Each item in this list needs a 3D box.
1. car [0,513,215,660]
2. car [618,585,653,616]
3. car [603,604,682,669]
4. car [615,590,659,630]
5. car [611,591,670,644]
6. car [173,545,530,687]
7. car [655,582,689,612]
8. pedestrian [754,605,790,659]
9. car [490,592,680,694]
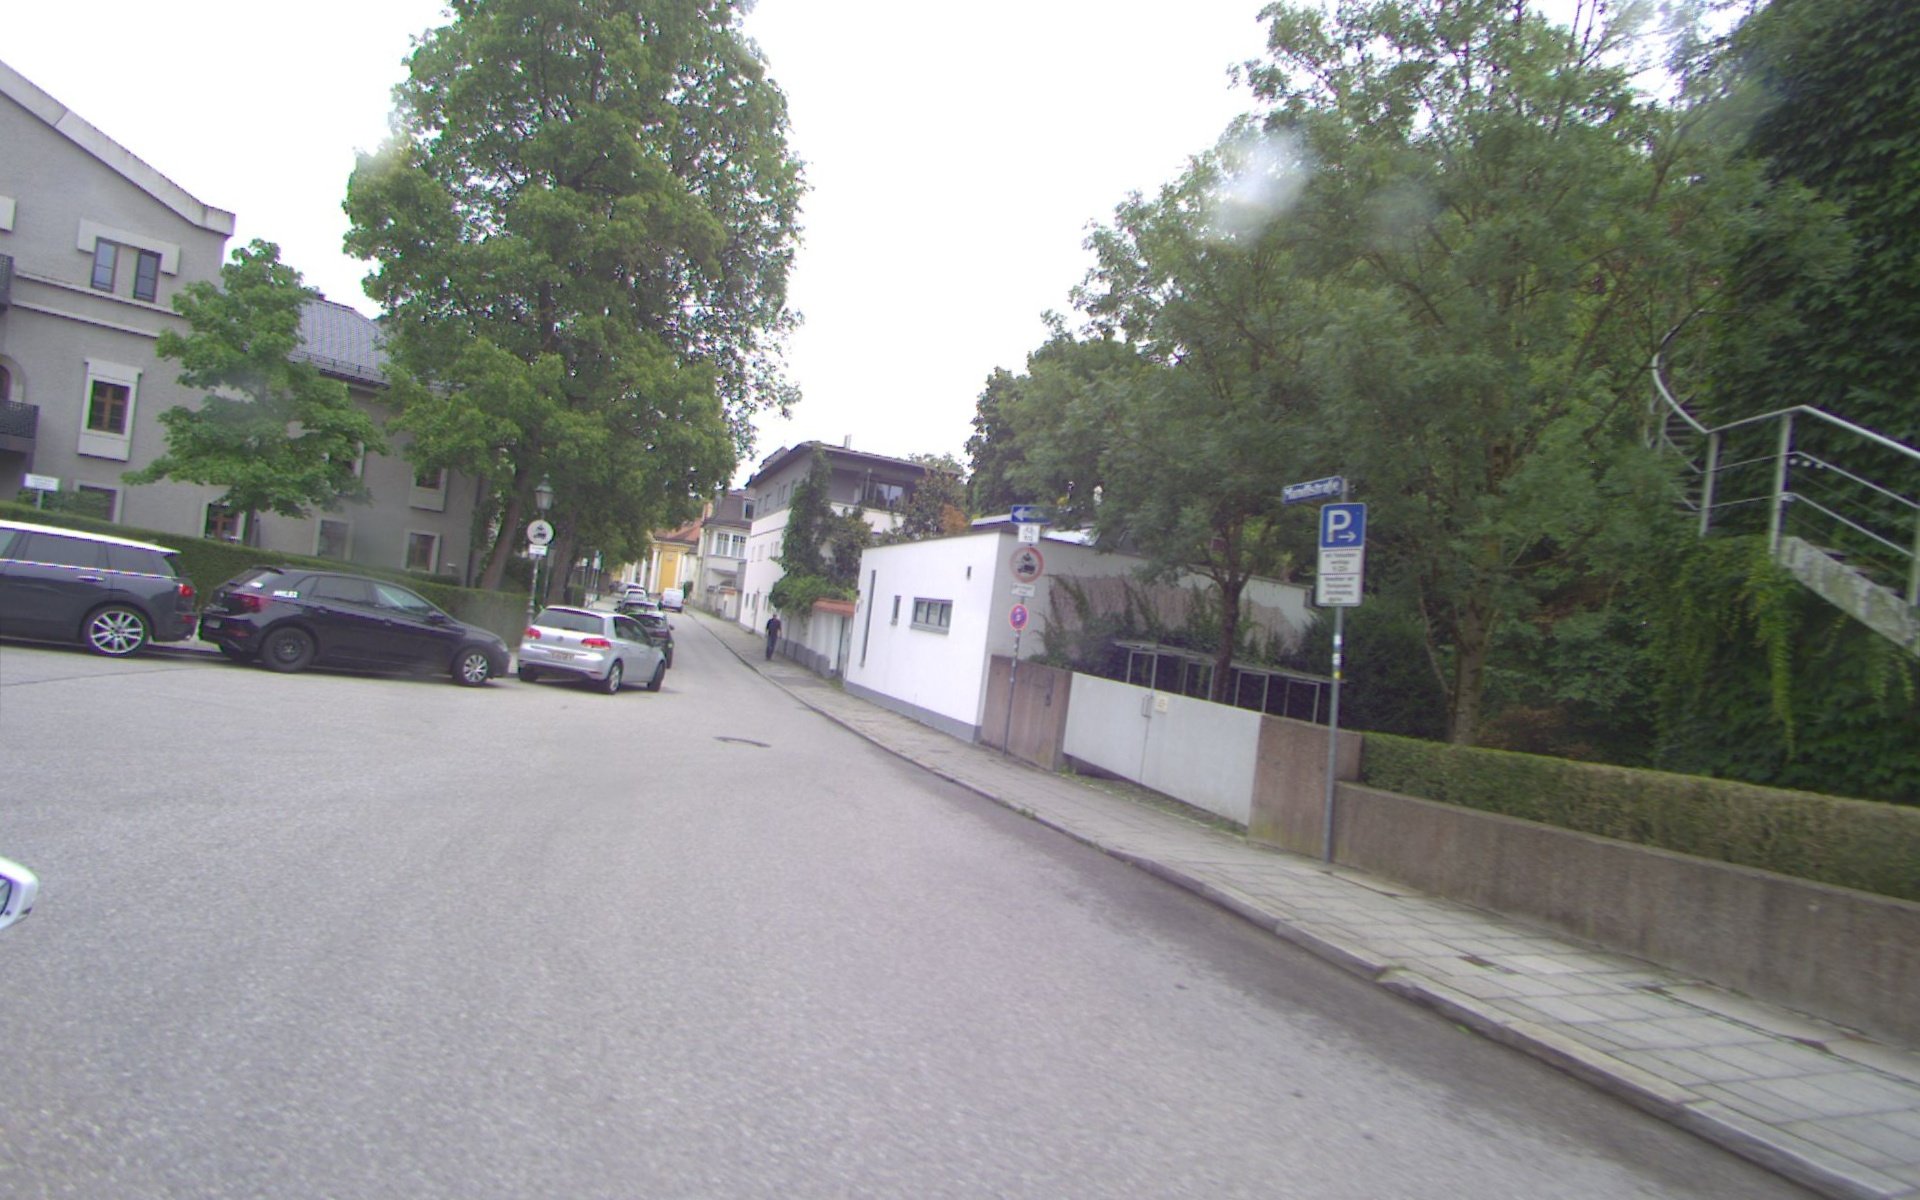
[{"bbox_3d":[-11.659,-0.312,11.999,4.241,1.462,1.878,11,-5,-40],"label":"car"},{"bbox_3d":[-21.384,0.000,66.276,1.914,1.681,3.999,9,-2,-19],"label":"car"},{"bbox_3d":[-9.431,1.040,29.821,1.914,1.463,3.999,9,-2,-19],"label":"car"},{"bbox_3d":[-16.738,0.465,52.073,1.914,1.681,3.999,9,-2,-19],"label":"car"},{"bbox_3d":[-12.719,0.656,39.971,1.914,1.681,3.999,9,-2,-19],"label":"car"},{"bbox_3d":[-8.833,0.312,14.918,1.869,1.461,4.008,5,-5,36],"label":"car"},{"bbox_3d":[-22.795,-0.232,79.500,1.973,2.036,4.160,8,-2,-21],"label":"car"},{"bbox_3d":[-7.331,1.248,39.204,0.938,1.954,1.227,8,-1,-20],"label":"pedestrian"},{"bbox_3d":[-7.051,0.861,19.435,1.906,1.462,4.020,10,-3,1],"label":"car"}]
